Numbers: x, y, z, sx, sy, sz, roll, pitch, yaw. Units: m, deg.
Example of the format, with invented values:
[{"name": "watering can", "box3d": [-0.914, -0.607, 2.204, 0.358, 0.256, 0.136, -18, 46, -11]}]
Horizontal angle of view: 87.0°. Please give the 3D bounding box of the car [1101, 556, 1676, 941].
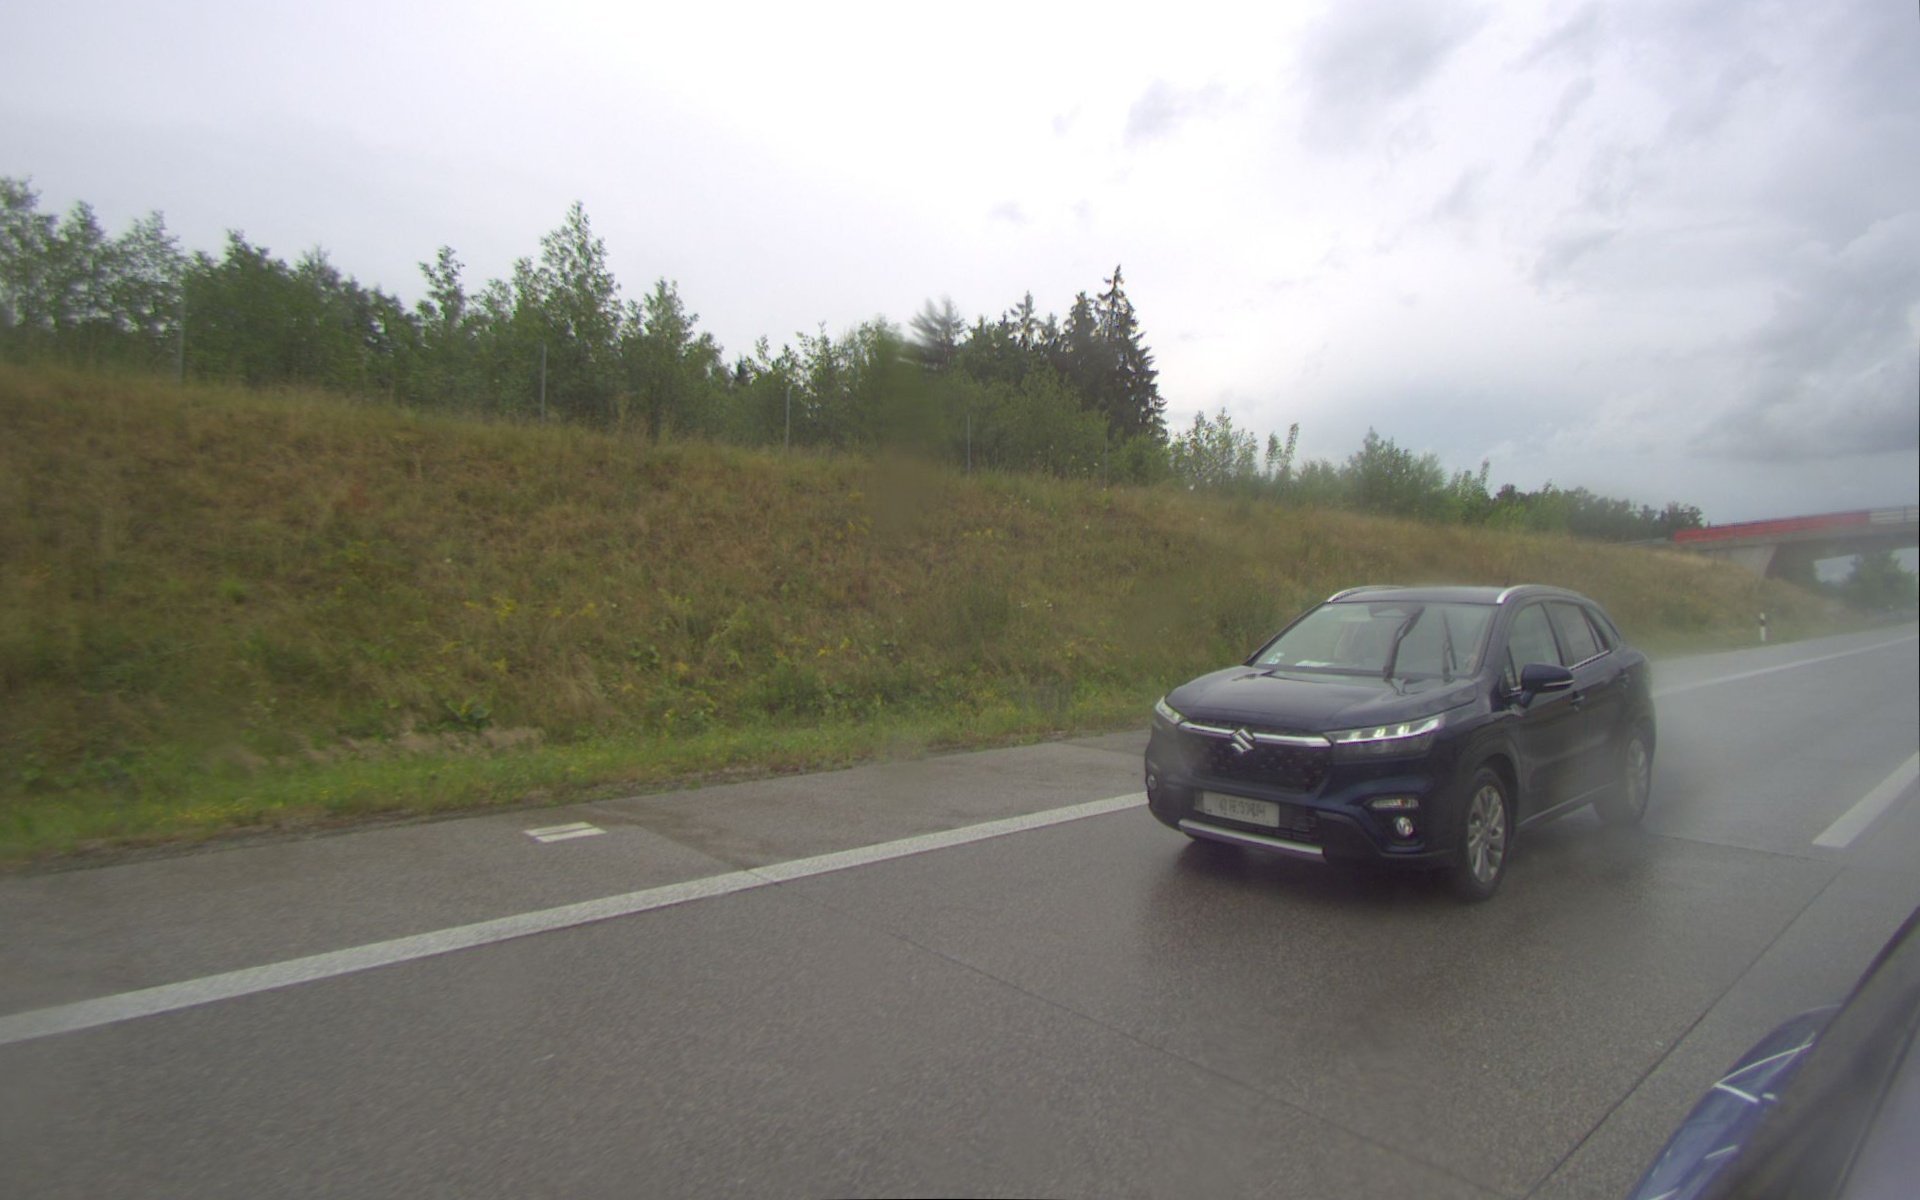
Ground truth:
[{"name": "car", "box3d": [2.731, 0.621, 6.121, 3.569, 1.596, 1.896, 0, 0, -42]}]
